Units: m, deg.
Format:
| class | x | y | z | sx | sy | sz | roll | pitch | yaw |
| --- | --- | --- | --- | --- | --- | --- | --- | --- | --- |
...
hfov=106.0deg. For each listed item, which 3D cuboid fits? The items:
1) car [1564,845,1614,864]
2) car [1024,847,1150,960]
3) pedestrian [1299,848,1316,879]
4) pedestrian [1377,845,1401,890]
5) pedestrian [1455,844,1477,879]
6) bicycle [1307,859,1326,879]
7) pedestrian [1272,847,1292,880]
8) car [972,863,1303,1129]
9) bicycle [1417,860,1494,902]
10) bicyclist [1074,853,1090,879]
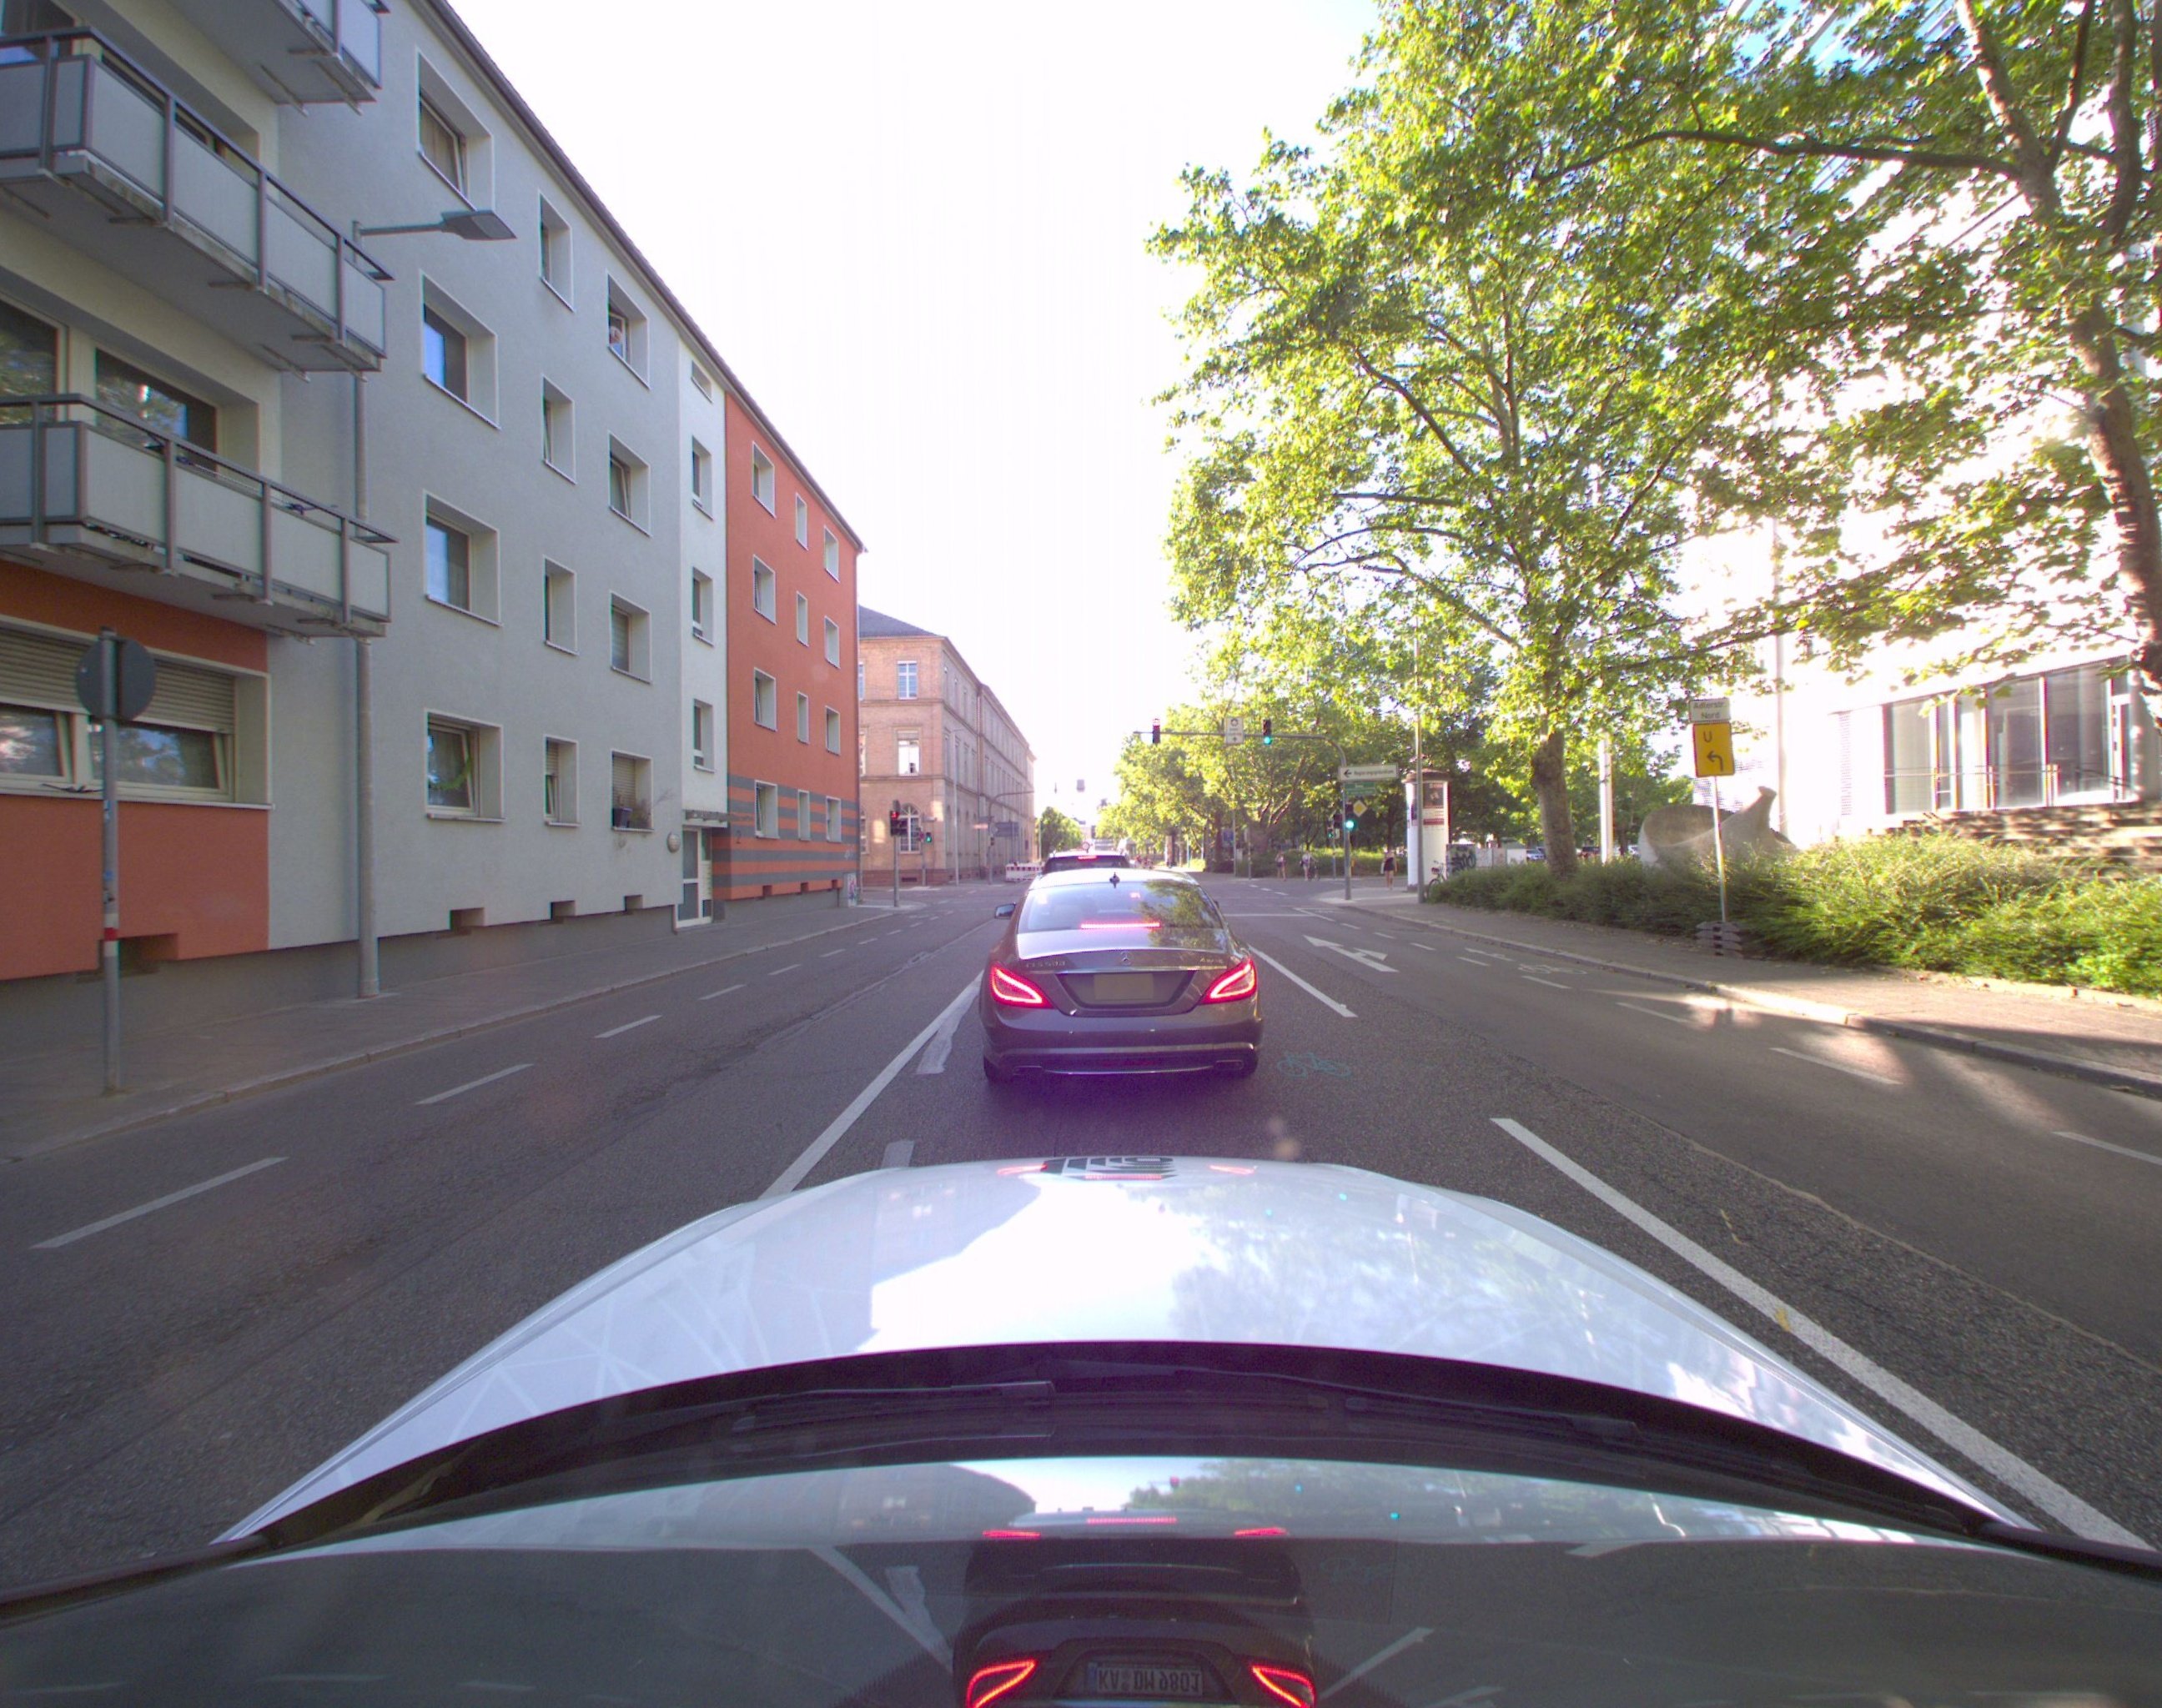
| class | x | y | z | sx | sy | sz | roll | pitch | yaw |
| --- | --- | --- | --- | --- | --- | --- | --- | --- | --- |
| car | 39.749 | 0.041 | 63.838 | 1.624 | 1.483 | 3.796 | 0 | -1 | 1 |
| car | 0.208 | 0.743 | 13.875 | 1.801 | 1.612 | 4.003 | -1 | -1 | 3 |
| pedestrian | 12.616 | 0.551 | 45.391 | 0.681 | 1.697 | 0.970 | 0 | -1 | -2 |
| pedestrian | 11.366 | 0.482 | 30.060 | 0.791 | 1.630 | 0.911 | -1 | -1 | 19 |
| pedestrian | 20.767 | 0.396 | 43.928 | 0.779 | 1.835 | 0.685 | 0 | -1 | -5 |
| bicycle | 13.088 | 0.825 | 45.252 | 0.522 | 1.100 | 1.740 | 0 | -1 | -1 |
| pedestrian | 11.207 | 0.527 | 45.410 | 0.733 | 1.808 | 0.905 | -1 | -2 | -14 |
| car | 0.201 | 0.800 | 6.774 | 1.839 | 1.429 | 4.511 | 0 | 0 | -3 |
| bicycle | 10.809 | 0.770 | 23.516 | 1.969 | 1.190 | 0.528 | 0 | -1 | 0 |
| bicyclist | 0.050 | 0.737 | 49.514 | 0.807 | 1.558 | 0.645 | 0 | -1 | -22 |
